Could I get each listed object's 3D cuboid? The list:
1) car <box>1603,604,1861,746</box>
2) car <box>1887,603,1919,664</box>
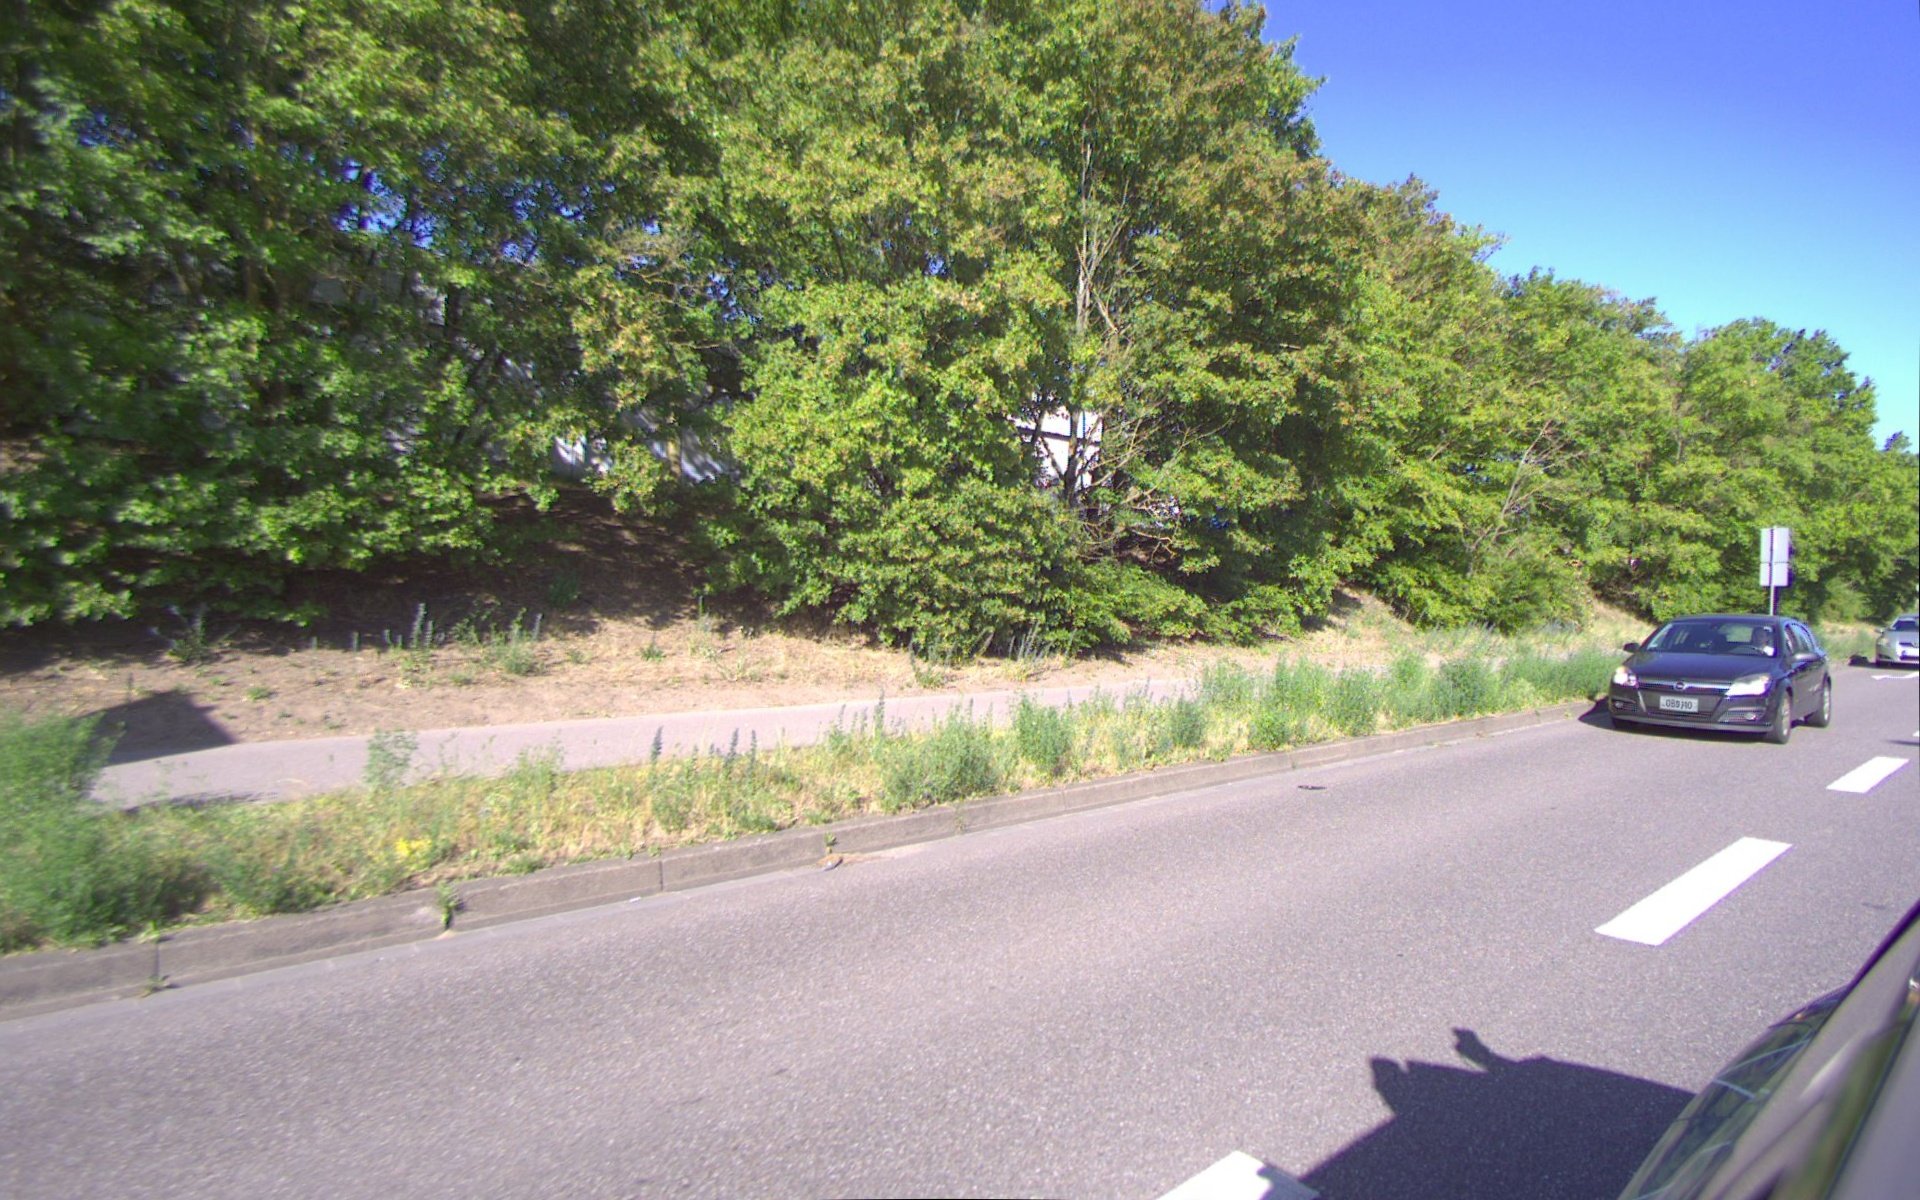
[{"bbox_3d":[9.744,0.786,12.648,4.295,1.460,1.737,0,0,-41],"label":"car"},{"bbox_3d":[26.359,0.886,27.126,4.036,1.556,1.786,1,0,-41],"label":"car"}]
